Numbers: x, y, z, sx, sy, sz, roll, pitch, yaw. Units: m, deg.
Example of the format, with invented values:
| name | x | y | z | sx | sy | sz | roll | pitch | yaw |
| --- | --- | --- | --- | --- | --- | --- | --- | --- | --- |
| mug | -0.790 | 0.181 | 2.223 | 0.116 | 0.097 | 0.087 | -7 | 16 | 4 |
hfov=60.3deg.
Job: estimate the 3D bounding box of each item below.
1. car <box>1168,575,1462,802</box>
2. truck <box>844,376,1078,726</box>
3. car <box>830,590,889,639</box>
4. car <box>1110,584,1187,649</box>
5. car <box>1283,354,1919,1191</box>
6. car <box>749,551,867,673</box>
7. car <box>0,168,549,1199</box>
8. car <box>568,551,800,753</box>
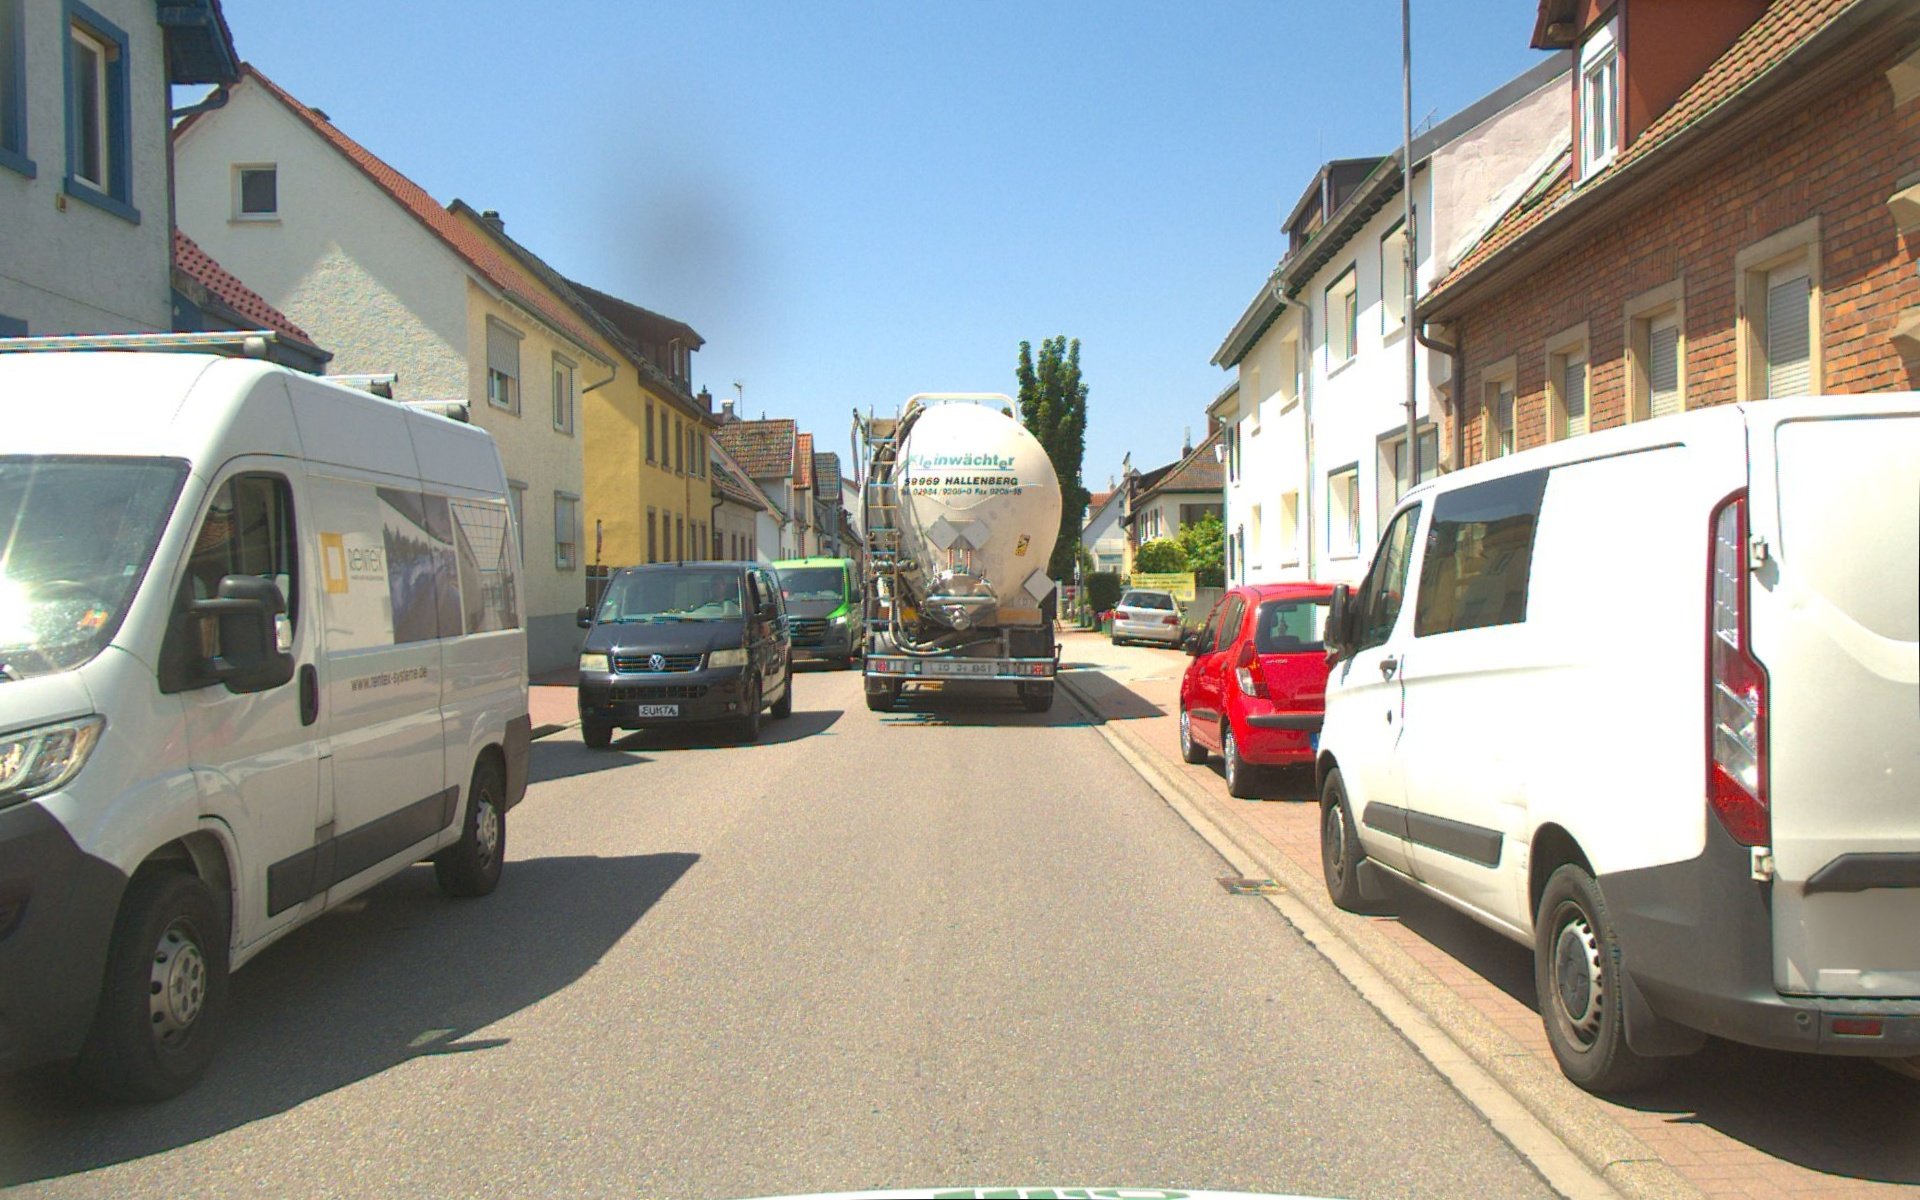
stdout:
| name | x | y | z | sx | sy | sz | roll | pitch | yaw |
| --- | --- | --- | --- | --- | --- | --- | --- | --- | --- |
| car | 2.738 | 0.608 | 13.514 | 1.577 | 1.555 | 3.676 | -2 | 0 | 0 |
| truck | -0.060 | -0.562 | 23.219 | 2.677 | 4.029 | 8.139 | 0 | 0 | -1 |
| car | -3.426 | 0.460 | 57.029 | 1.729 | 1.563 | 4.078 | -2 | 0 | 0 |
| car | 5.066 | 0.379 | 43.990 | 1.776 | 1.488 | 4.889 | 4 | 1 | 8 |
| car | 2.748 | 0.375 | 6.406 | 1.907 | 2.005 | 4.783 | -2 | 0 | -1 |
| car | -3.239 | 0.222 | 36.460 | 2.009 | 2.394 | 6.081 | -2 | 0 | -1 |
| car | -3.408 | 0.238 | 6.755 | 2.082 | 2.586 | 5.461 | -2 | 0 | -1 |
| car | -3.029 | 0.509 | 19.236 | 1.843 | 1.977 | 5.117 | -2 | 0 | -1 |
